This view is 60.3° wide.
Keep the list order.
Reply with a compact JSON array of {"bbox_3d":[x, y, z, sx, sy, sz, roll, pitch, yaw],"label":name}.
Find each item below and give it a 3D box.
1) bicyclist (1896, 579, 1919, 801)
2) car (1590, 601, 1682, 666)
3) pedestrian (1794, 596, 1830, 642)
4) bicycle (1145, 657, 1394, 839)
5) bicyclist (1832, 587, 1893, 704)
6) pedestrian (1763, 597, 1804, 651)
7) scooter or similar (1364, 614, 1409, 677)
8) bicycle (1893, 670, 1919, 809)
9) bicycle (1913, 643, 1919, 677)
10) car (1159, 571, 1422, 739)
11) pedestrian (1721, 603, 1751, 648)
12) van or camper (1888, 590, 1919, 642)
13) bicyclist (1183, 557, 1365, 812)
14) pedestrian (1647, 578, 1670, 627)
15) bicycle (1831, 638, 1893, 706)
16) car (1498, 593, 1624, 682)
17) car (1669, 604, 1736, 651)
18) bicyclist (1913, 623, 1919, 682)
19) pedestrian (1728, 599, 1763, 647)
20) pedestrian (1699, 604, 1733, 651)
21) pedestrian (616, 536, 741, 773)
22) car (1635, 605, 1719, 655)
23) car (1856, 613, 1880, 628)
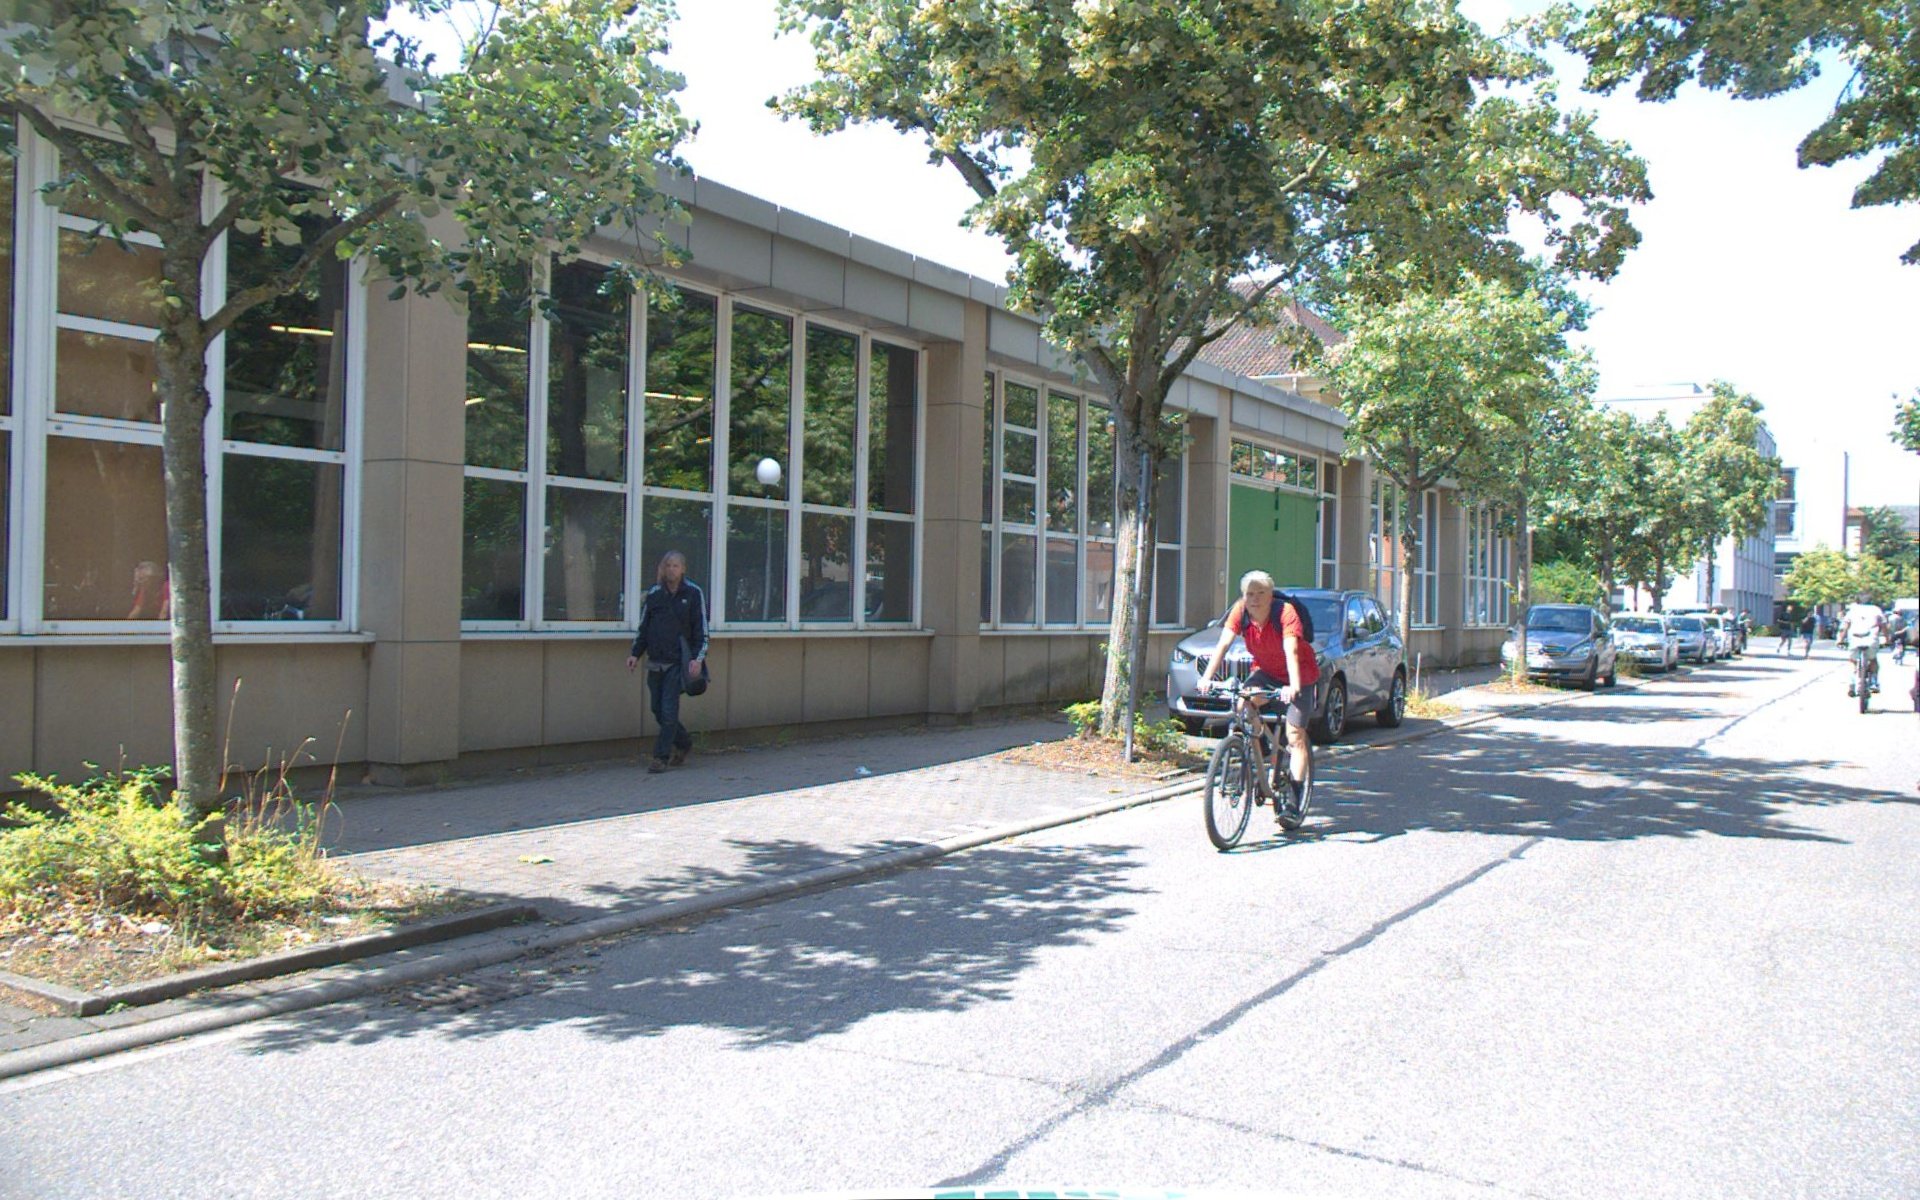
[{"bbox_3d":[7.847,0.717,12.980,0.705,1.691,1.091,4,1,34],"label":"bicyclist"},{"bbox_3d":[17.557,0.859,42.839,1.693,1.482,4.576,3,0,28],"label":"car"},{"bbox_3d":[30.580,0.683,59.382,0.832,1.623,0.828,0,-1,-12],"label":"pedestrian"},{"bbox_3d":[2.077,0.964,10.885,0.803,1.060,1.922,1,-4,37],"label":"bicycle"},{"bbox_3d":[14.400,0.711,26.404,0.756,1.786,0.847,4,1,28],"label":"bicyclist"},{"bbox_3d":[30.761,0.884,61.806,0.836,1.891,1.114,-3,5,-10],"label":"pedestrian"},{"bbox_3d":[8.471,0.899,32.825,0.496,1.189,1.213,3,0,30],"label":"scooter or similar"},{"bbox_3d":[7.944,1.100,13.156,0.694,1.010,1.904,3,1,35],"label":"bicycle"},{"bbox_3d":[29.331,1.830,50.049,0.794,1.020,2.119,2,-1,31],"label":"bicycle"},{"bbox_3d":[4.031,0.598,19.543,1.787,1.660,4.511,3,0,28],"label":"car"},{"bbox_3d":[30.911,1.020,65.894,0.667,1.770,0.903,1,-2,-21],"label":"pedestrian"},{"bbox_3d":[47.464,0.834,82.307,1.958,2.489,4.556,0,-2,33],"label":"van or camper"},{"bbox_3d":[2.068,0.533,10.854,0.822,1.570,0.955,0,-2,38],"label":"bicyclist"},{"bbox_3d":[29.515,0.105,69.891,0.603,2.015,0.828,1,-2,-1],"label":"pedestrian"},{"bbox_3d":[14.368,1.131,26.375,0.793,1.020,2.121,-1,-1,27],"label":"bicycle"},{"bbox_3d":[12.055,0.735,33.039,1.724,1.583,4.107,3,0,28],"label":"car"},{"bbox_3d":[24.903,0.908,55.422,1.631,1.436,3.799,3,1,30],"label":"car"},{"bbox_3d":[29.404,1.615,50.174,0.794,1.787,0.691,2,-1,31],"label":"bicyclist"},{"bbox_3d":[29.968,0.894,63.078,0.696,1.750,0.980,8,-7,-37],"label":"pedestrian"},{"bbox_3d":[30.086,1.089,65.840,0.689,1.769,0.977,2,1,-24],"label":"pedestrian"},{"bbox_3d":[-2.250,0.417,13.280,0.771,1.818,0.671,2,1,8],"label":"pedestrian"},{"bbox_3d":[21.732,0.904,50.057,1.694,1.367,4.155,3,1,32],"label":"car"},{"bbox_3d":[95.450,2.148,173.846,1.764,1.557,3.987,1,-1,34],"label":"car"}]
